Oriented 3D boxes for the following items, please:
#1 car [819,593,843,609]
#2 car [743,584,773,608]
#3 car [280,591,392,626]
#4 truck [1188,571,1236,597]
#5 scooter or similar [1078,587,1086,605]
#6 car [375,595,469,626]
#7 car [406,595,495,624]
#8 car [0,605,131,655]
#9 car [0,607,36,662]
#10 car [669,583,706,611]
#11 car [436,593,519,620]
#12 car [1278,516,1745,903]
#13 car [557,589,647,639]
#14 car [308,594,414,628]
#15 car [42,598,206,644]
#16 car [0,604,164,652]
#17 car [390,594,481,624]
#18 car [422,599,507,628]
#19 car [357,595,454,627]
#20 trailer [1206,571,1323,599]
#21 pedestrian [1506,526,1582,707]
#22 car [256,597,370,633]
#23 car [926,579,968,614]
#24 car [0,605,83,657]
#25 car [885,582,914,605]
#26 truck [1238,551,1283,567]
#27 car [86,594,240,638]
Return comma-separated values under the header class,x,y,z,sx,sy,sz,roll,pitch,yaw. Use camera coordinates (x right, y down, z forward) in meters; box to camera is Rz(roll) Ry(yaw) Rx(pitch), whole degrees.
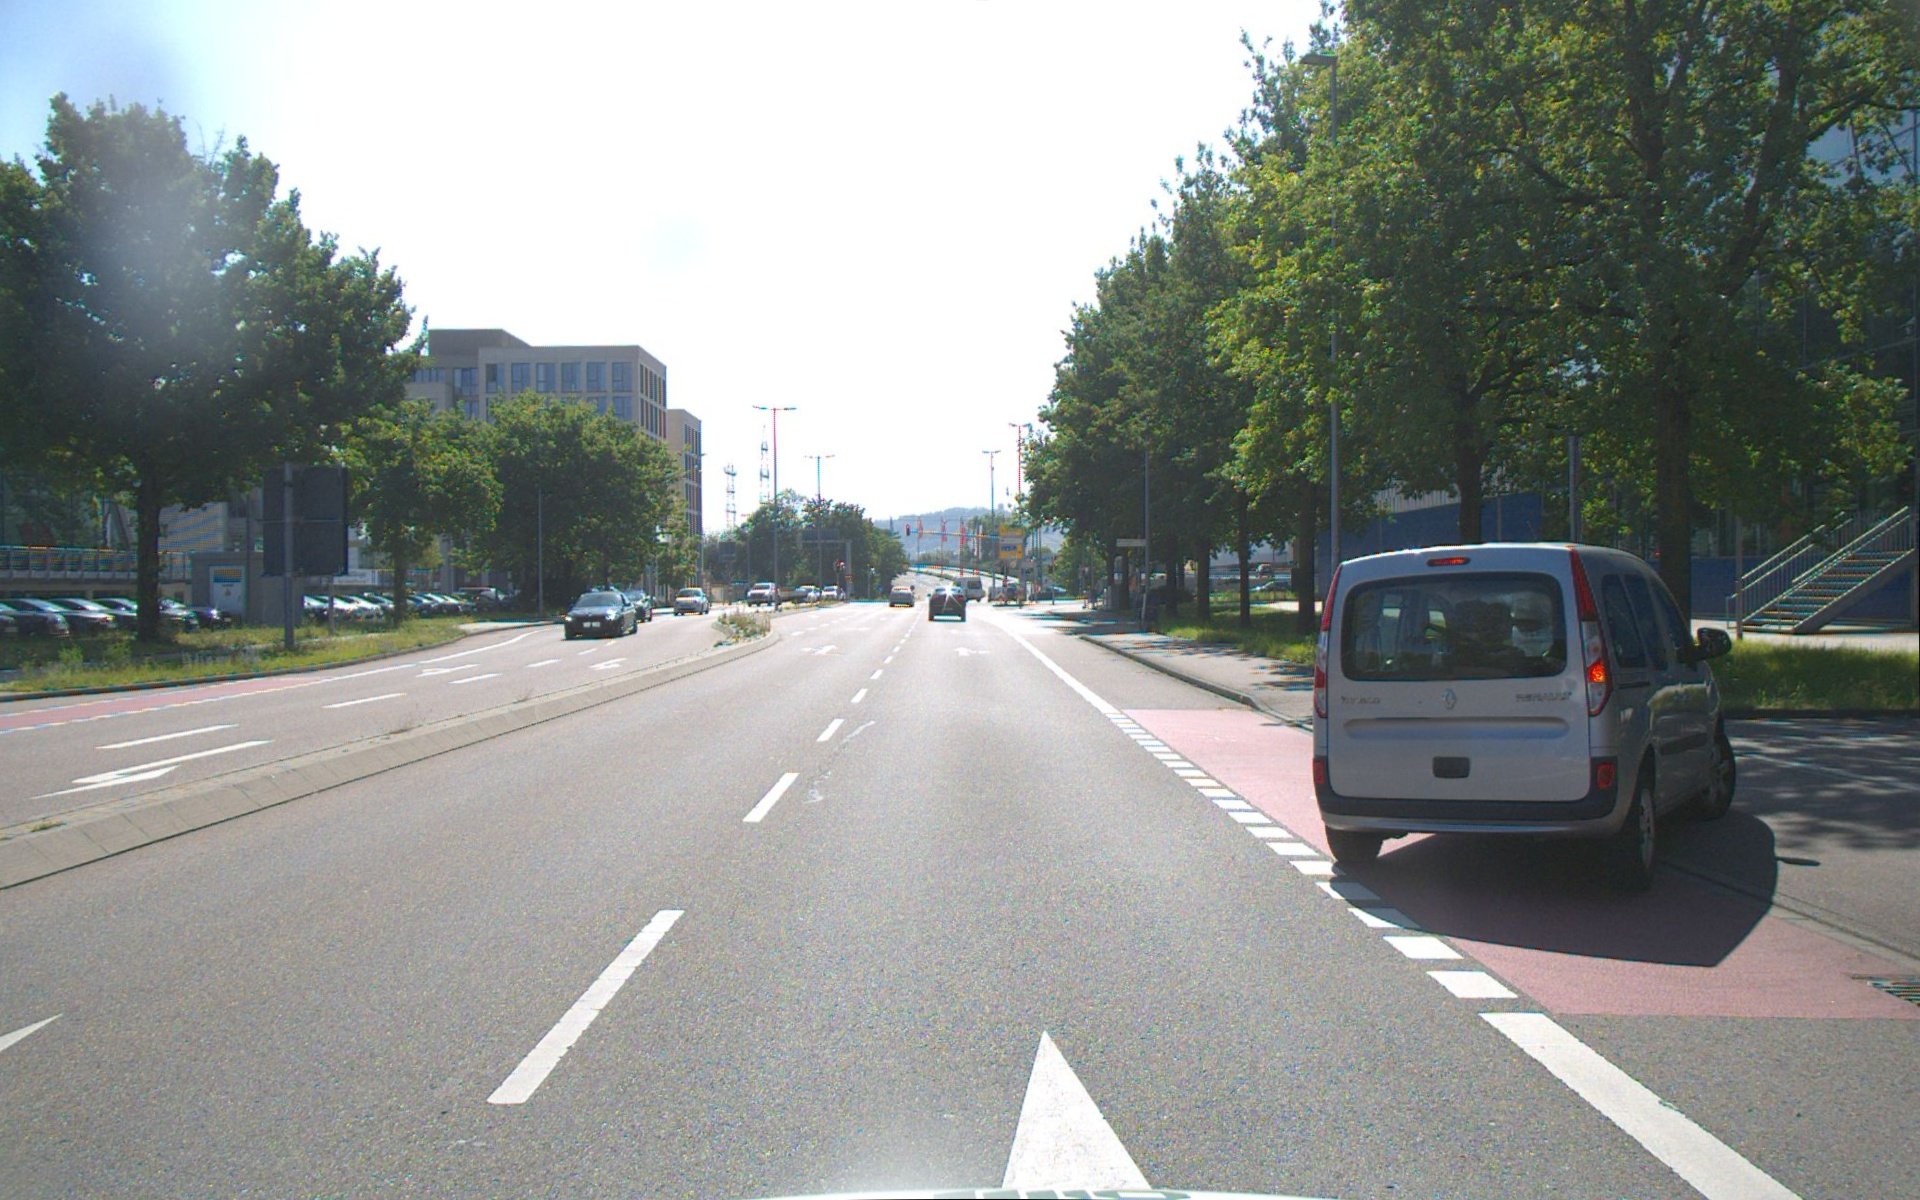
class,x,y,z,sx,sy,sz,roll,pitch,yaw
car,-12.946,0.088,166.489,1.777,1.489,4.002,-1,0,4
car,-16.231,-0.322,133.173,1.953,1.864,4.935,-1,0,-2
car,-26.481,0.356,70.264,3.959,1.400,2.025,-1,0,0
truck,25.793,-1.652,169.457,4.777,2.466,2.002,2,1,6
scooter or similar,8.467,-0.270,114.451,0.343,1.255,1.312,-1,0,13
car,-26.172,0.494,80.589,3.905,1.400,1.924,-1,0,0
car,-26.193,0.465,85.119,3.905,1.400,1.924,-1,0,0
car,-26.579,0.857,47.886,4.177,1.374,1.954,-1,0,2
car,-26.536,0.903,42.776,4.177,1.374,1.954,-1,0,2
car,-15.356,-0.201,93.332,1.621,1.489,3.548,-2,0,-3
car,-26.259,0.332,90.083,3.905,1.400,1.924,-1,0,0
car,3.596,0.507,10.233,1.870,1.861,4.171,-1,0,31
car,-11.671,0.420,54.274,1.803,1.489,5.000,-3,0,0
car,-26.362,0.476,72.865,3.905,1.400,1.924,-1,0,0
car,-26.509,0.648,52.541,4.177,1.374,1.954,-1,0,2
car,-26.767,0.839,50.280,4.177,1.374,1.954,-1,0,2
car,-26.223,0.426,82.799,3.905,1.400,1.924,-1,0,0
car,-26.202,0.707,87.557,3.905,1.400,1.924,-1,0,0
car,-26.194,0.520,78.188,3.905,1.400,1.924,-1,0,0
trailer,31.019,-1.519,168.937,11.620,2.512,2.002,2,1,6
pedestrian,6.203,0.172,17.591,0.524,1.874,0.728,-1,0,0
car,-26.438,0.607,67.673,3.905,1.400,1.865,-1,0,0
car,-0.607,-0.185,81.445,1.769,1.668,4.461,-1,1,3
car,-26.658,0.856,45.359,4.177,1.374,1.954,-1,0,2
car,-4.565,-0.481,124.765,1.952,1.713,4.000,-1,0,0
truck,41.845,-5.771,230.465,5.787,2.048,2.001,2,1,2
car,-26.575,0.534,55.268,4.177,1.374,1.954,-1,0,2
